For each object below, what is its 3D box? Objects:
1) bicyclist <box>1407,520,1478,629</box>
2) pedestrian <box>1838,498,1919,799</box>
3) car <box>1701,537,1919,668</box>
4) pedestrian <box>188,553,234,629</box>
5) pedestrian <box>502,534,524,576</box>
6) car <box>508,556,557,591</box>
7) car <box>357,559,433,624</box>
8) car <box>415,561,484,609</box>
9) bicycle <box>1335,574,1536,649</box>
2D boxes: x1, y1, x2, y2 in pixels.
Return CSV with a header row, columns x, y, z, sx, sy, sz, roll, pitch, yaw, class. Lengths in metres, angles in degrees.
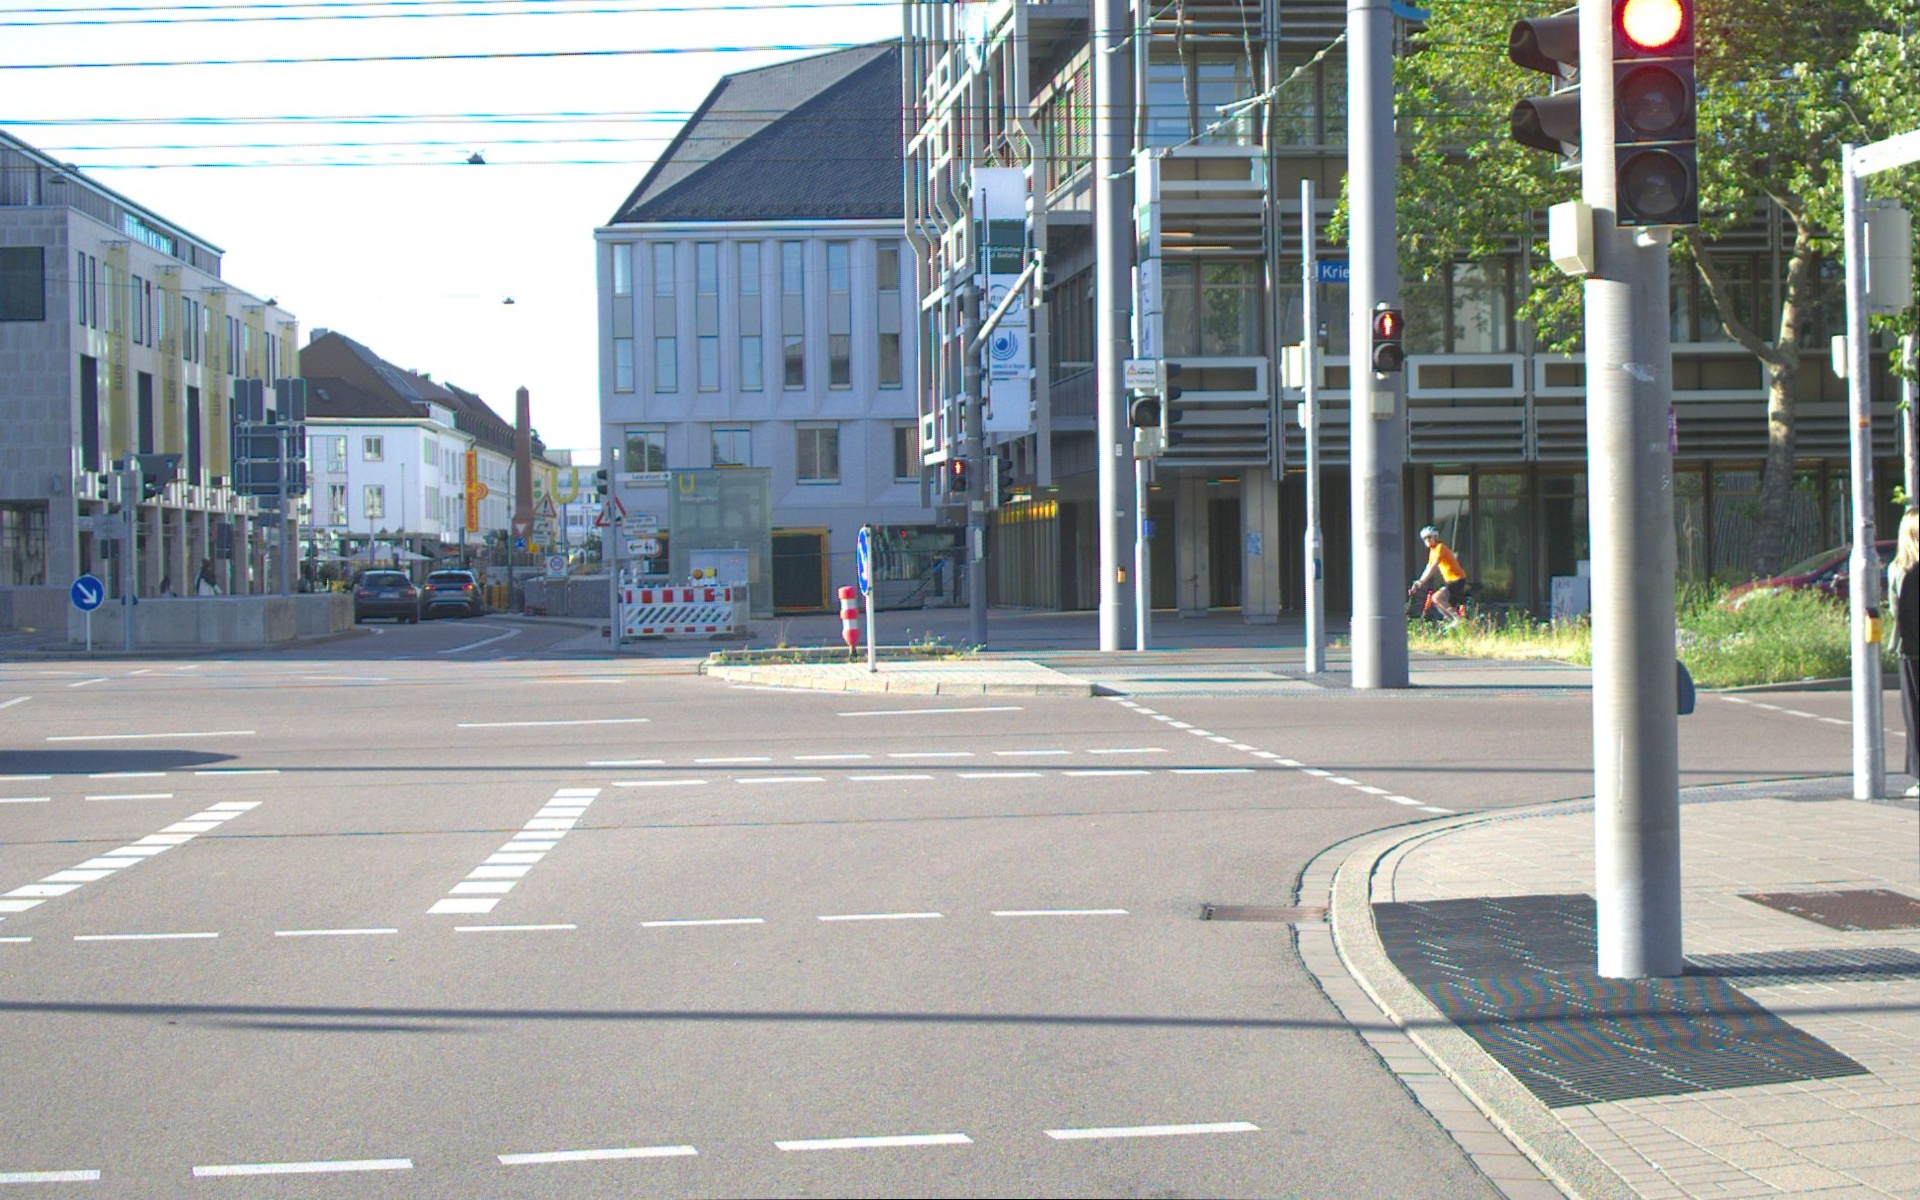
x,y,z,sx,sy,sz,roll,pitch,yaw,class
6.610,-0.354,47.135,0.822,1.469,0.652,-1,1,-4,bicyclist
5.330,0.249,18.861,0.765,1.608,0.874,-1,1,-2,pedestrian
12.400,0.002,46.428,4.287,1.678,1.826,-1,1,-11,car
-17.692,-0.221,81.218,0.899,1.776,0.808,-1,1,-1,pedestrian
-21.402,-2.158,164.693,0.910,1.958,0.823,1,0,-1,pedestrian
-18.139,-1.136,145.923,1.658,1.453,3.542,-1,1,-1,car
-15.279,-0.261,93.092,1.819,1.678,4.001,-1,1,-6,car
-16.022,-0.481,108.087,1.658,1.453,3.542,-1,1,-1,car
6.504,0.153,47.128,2.568,0.972,1.047,-1,1,-3,bicycle
